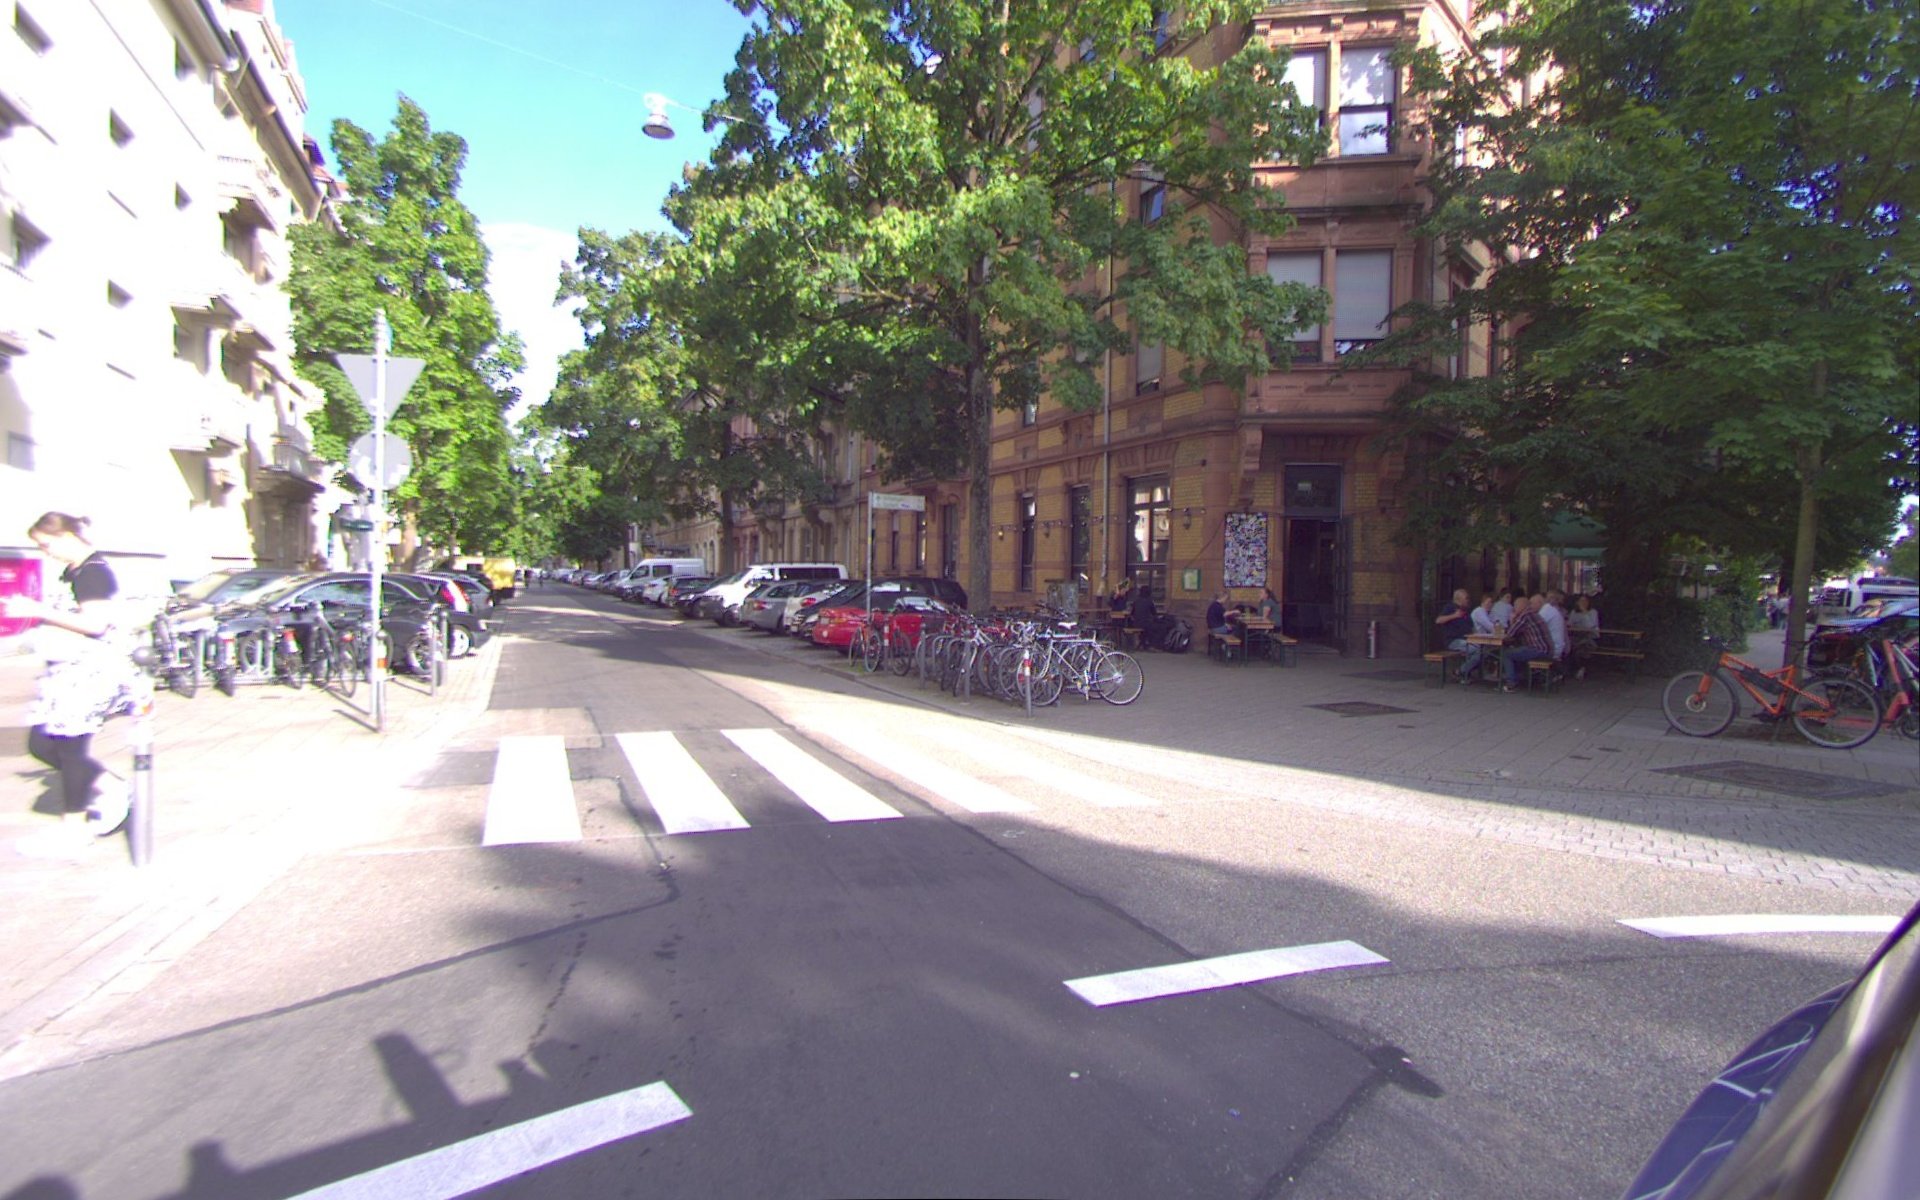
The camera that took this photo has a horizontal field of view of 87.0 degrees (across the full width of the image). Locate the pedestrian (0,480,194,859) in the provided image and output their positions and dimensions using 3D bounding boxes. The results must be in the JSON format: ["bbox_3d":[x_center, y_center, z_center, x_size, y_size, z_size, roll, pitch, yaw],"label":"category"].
[{"bbox_3d":[-4.514,0.317,5.173,0.611,1.775,0.830,2,1,40],"label":"pedestrian"}]

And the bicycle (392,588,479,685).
[{"bbox_3d":[-7.094,0.455,13.642,1.846,1.190,0.407,2,0,43],"label":"bicycle"}]

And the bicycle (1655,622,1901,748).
[{"bbox_3d":[8.150,0.796,10.163,1.850,1.048,0.673,3,2,42],"label":"bicycle"}]

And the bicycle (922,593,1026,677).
[{"bbox_3d":[0.239,0.529,16.066,1.679,1.216,0.449,-2,3,-32],"label":"bicycle"}]

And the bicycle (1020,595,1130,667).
[{"bbox_3d":[1.943,0.505,17.126,1.762,1.127,0.601,-1,2,-19],"label":"bicycle"}]

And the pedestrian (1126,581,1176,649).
[{"bbox_3d":[3.816,0.283,20.232,0.753,1.301,0.630,-2,1,-25],"label":"pedestrian"}]

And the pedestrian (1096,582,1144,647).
[{"bbox_3d":[3.318,0.279,20.980,0.753,1.301,0.630,-2,1,-25],"label":"pedestrian"}]

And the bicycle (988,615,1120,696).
[{"bbox_3d":[1.237,0.719,13.427,1.677,0.999,0.449,-1,2,-10],"label":"bicycle"}]

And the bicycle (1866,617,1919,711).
[{"bbox_3d":[12.335,0.827,12.879,0.469,1.114,1.666,3,3,17],"label":"bicycle"}]

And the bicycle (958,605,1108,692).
[{"bbox_3d":[0.996,0.645,13.839,2.003,1.102,0.449,-1,2,-10],"label":"bicycle"}]

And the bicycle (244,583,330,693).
[{"bbox_3d":[-8.044,0.420,12.065,1.846,1.190,0.407,2,0,43],"label":"bicycle"}]

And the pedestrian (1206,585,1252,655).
[{"bbox_3d":[4.962,0.357,18.662,0.628,1.239,0.513,-1,3,-16],"label":"pedestrian"}]

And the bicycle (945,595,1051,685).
[{"bbox_3d":[0.580,0.562,15.089,1.681,1.216,0.448,-2,3,-37],"label":"bicycle"}]

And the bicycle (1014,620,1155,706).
[{"bbox_3d":[1.540,0.768,12.581,1.677,0.981,0.449,-1,2,-10],"label":"bicycle"}]

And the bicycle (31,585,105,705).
[{"bbox_3d":[-9.326,0.428,10.565,1.693,1.099,0.415,4,2,44],"label":"bicycle"}]

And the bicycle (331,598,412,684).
[{"bbox_3d":[-7.691,0.511,13.203,1.418,1.014,0.485,2,0,42],"label":"bicycle"}]

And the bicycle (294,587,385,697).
[{"bbox_3d":[-7.391,0.462,12.025,1.846,1.190,0.407,2,0,43],"label":"bicycle"}]

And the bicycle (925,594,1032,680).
[{"bbox_3d":[0.302,0.542,15.573,1.679,1.216,0.449,-2,3,-32],"label":"bicycle"}]

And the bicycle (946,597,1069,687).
[{"bbox_3d":[0.674,0.583,14.368,1.677,1.216,0.449,-1,2,-10],"label":"bicycle"}]

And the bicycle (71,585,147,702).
[{"bbox_3d":[-9.092,0.427,10.791,1.693,1.099,0.415,4,2,44],"label":"bicycle"}]

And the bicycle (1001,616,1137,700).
[{"bbox_3d":[1.399,0.734,13.016,1.677,0.999,0.449,-1,2,-10],"label":"bicycle"}]

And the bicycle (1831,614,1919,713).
[{"bbox_3d":[11.871,0.779,13.009,0.429,1.114,1.663,3,3,21],"label":"bicycle"}]

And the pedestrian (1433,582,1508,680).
[{"bbox_3d":[7.537,0.435,14.964,0.655,1.396,0.719,0,1,-14],"label":"pedestrian"}]

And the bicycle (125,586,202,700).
[{"bbox_3d":[-8.806,0.439,11.169,1.693,1.099,0.415,4,2,44],"label":"bicycle"}]

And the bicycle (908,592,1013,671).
[{"bbox_3d":[0.013,0.503,16.565,1.676,1.216,0.449,-1,2,-19],"label":"bicycle"}]

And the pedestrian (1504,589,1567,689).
[{"bbox_3d":[8.052,0.528,14.171,0.723,1.331,0.515,2,1,30],"label":"pedestrian"}]

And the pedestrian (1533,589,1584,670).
[{"bbox_3d":[9.604,0.462,16.249,0.541,1.247,0.618,1,2,18],"label":"pedestrian"}]

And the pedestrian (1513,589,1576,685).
[{"bbox_3d":[8.407,0.517,14.572,0.723,1.331,0.515,2,1,30],"label":"pedestrian"}]

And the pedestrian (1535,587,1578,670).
[{"bbox_3d":[10.022,0.462,17.012,0.460,1.343,0.618,1,2,18],"label":"pedestrian"}]

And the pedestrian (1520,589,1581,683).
[{"bbox_3d":[8.782,0.515,15.071,0.723,1.331,0.601,2,1,30],"label":"pedestrian"}]

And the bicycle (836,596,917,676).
[{"bbox_3d":[-1.422,0.551,16.793,0.570,1.109,2.506,-3,3,-22],"label":"bicycle"}]

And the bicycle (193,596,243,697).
[{"bbox_3d":[-8.398,0.498,11.455,0.405,1.031,1.502,2,0,-36],"label":"bicycle"}]

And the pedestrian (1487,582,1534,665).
[{"bbox_3d":[9.057,0.371,16.662,0.541,1.317,0.618,1,2,18],"label":"pedestrian"}]
